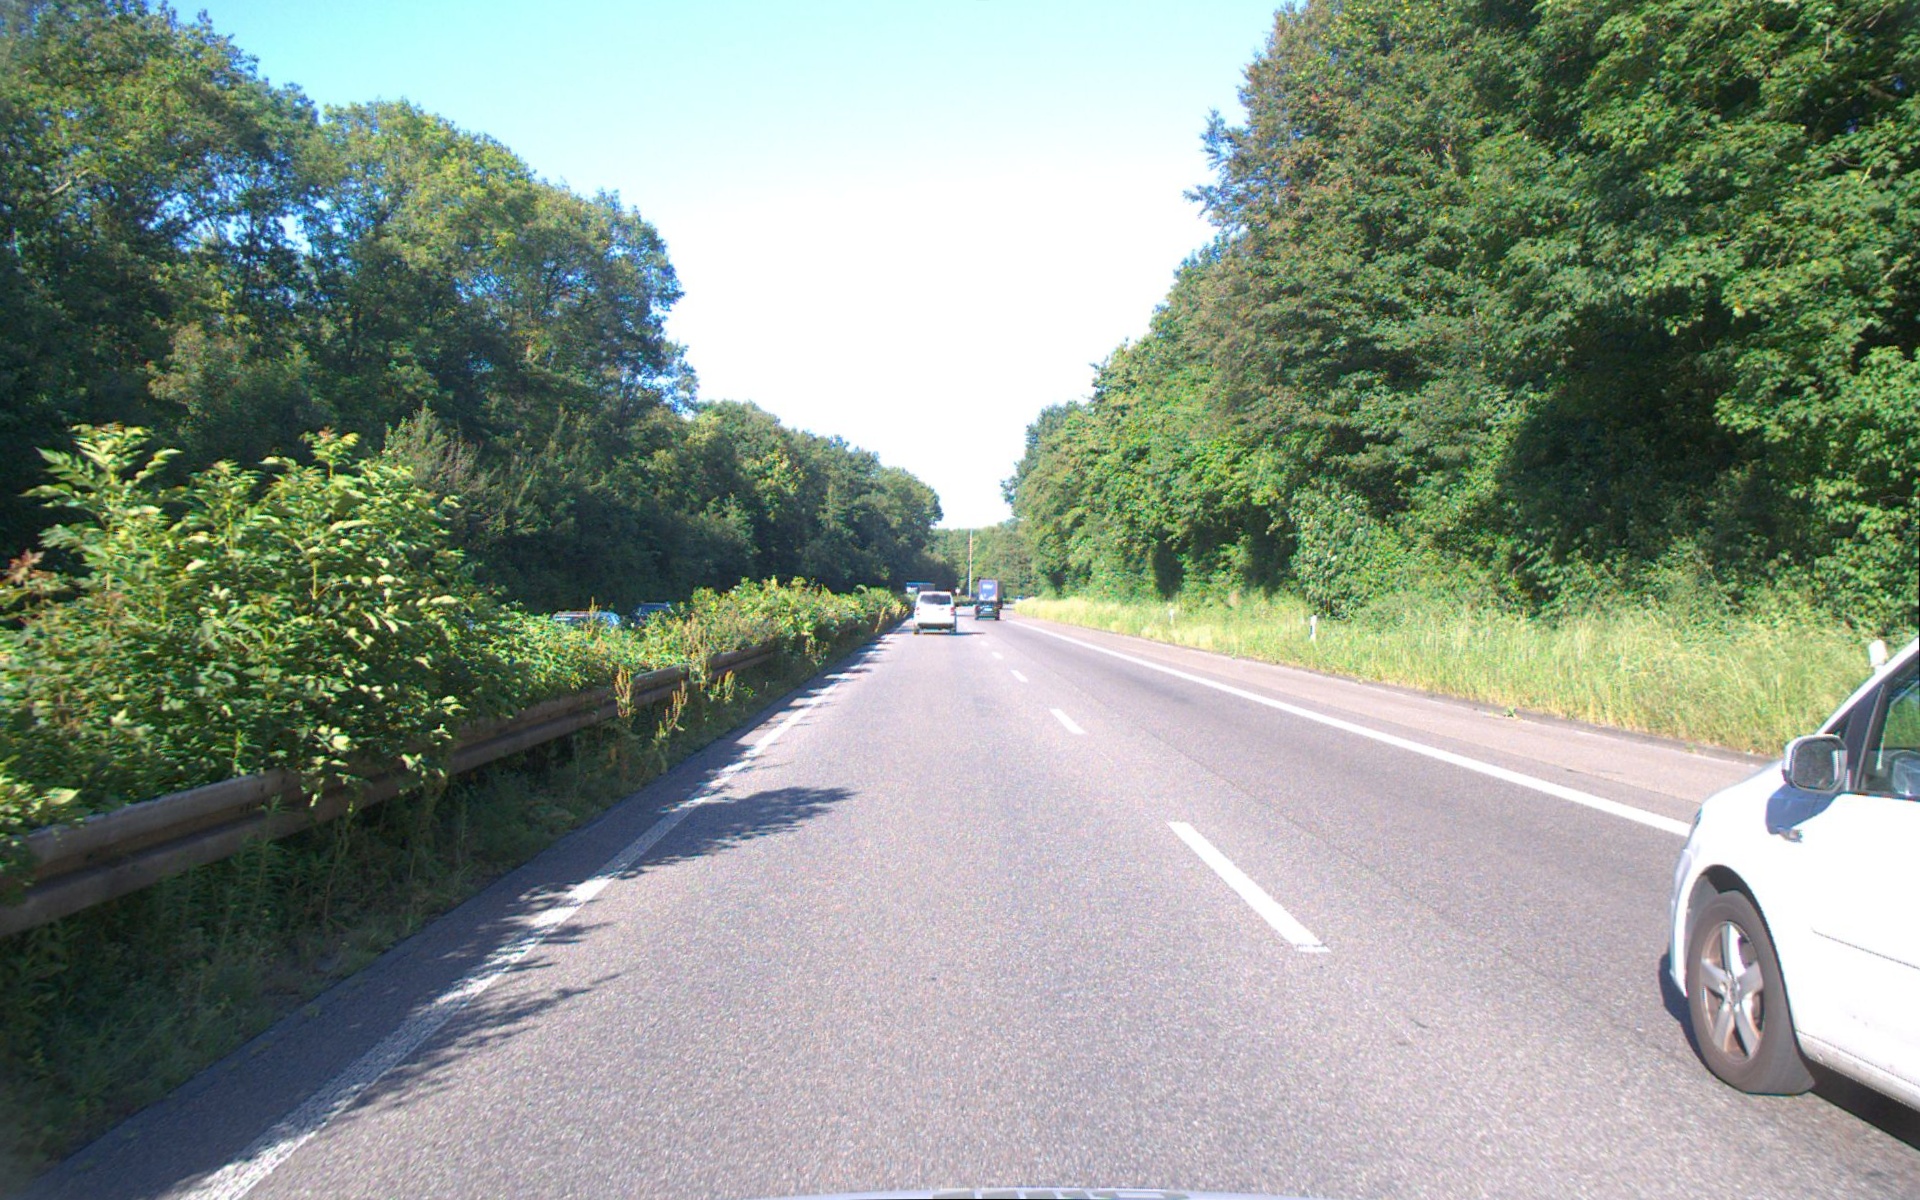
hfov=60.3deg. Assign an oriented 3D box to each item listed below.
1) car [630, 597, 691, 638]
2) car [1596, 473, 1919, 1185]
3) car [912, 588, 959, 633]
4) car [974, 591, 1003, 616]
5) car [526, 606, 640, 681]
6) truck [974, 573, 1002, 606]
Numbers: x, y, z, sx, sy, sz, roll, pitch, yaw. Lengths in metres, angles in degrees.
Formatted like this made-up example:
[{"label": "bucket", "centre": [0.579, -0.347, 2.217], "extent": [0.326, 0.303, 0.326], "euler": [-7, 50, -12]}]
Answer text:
[{"label": "car", "centre": [-12.302, 0.703, 68.142], "extent": [1.809, 1.602, 3.999], "euler": [1, 0, -1]}, {"label": "car", "centre": [3.379, 0.602, 4.090], "extent": [1.762, 1.844, 4.586], "euler": [1, 0, -1]}, {"label": "car", "centre": [-1.057, 0.432, 70.642], "extent": [1.912, 1.813, 4.586], "euler": [1, 0, -1]}, {"label": "car", "centre": [2.077, 0.262, 120.478], "extent": [1.912, 1.813, 4.586], "euler": [1, 0, -1]}, {"label": "car", "centre": [-8.803, 0.983, 38.966], "extent": [1.678, 1.633, 4.584], "euler": [1, 0, -1]}, {"label": "truck", "centre": [4.012, -1.450, 233.046], "extent": [3.656, 4.419, 9.307], "euler": [1, 0, 2]}]
